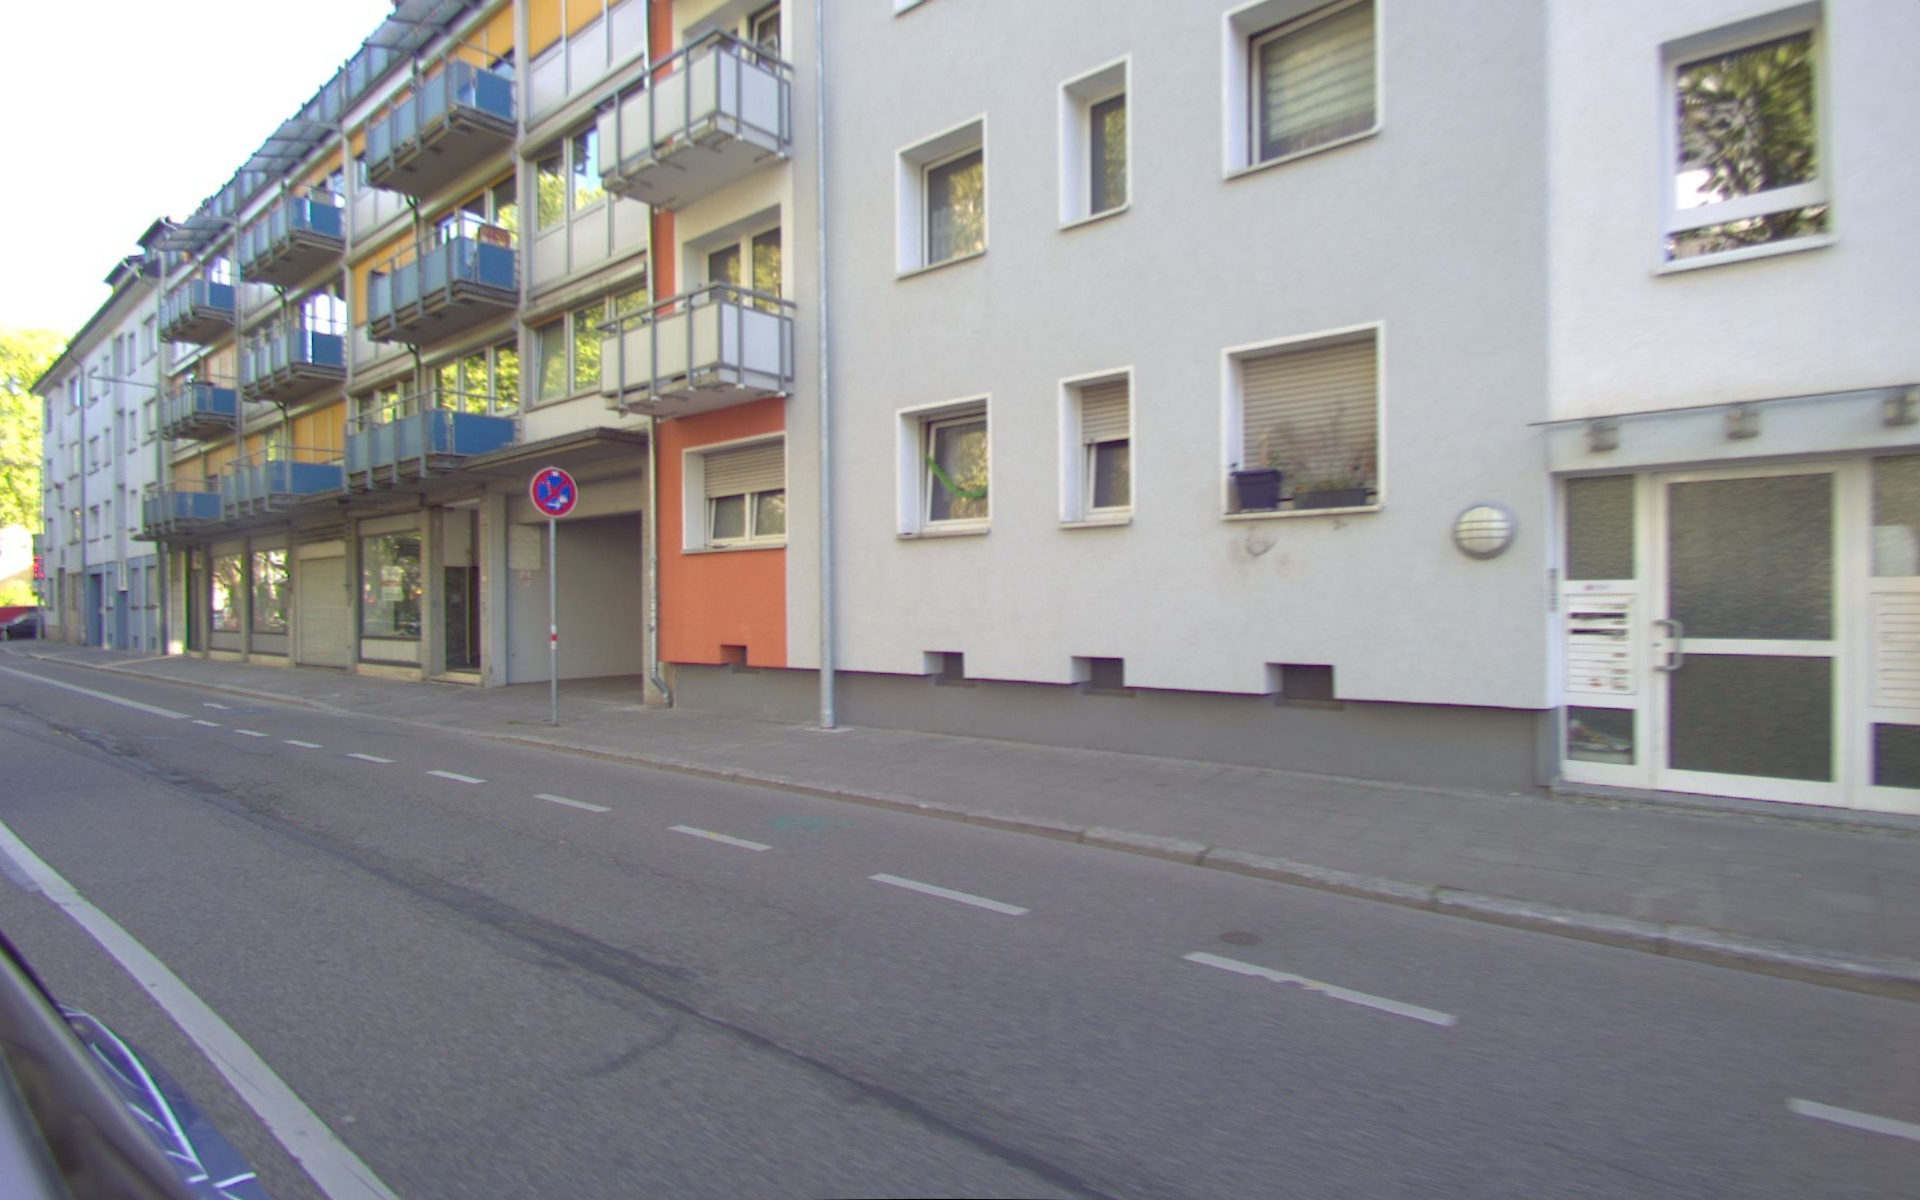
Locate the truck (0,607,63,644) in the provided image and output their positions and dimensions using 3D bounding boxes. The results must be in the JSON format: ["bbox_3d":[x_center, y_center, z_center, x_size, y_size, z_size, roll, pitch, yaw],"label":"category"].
[{"bbox_3d":[-57.397,1.523,61.319,1.876,2.174,4.349,-1,0,39],"label":"truck"}]

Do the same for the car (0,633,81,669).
[{"bbox_3d":[-53.207,2.908,58.070,1.829,1.849,3.948,-1,0,39],"label":"car"}]
